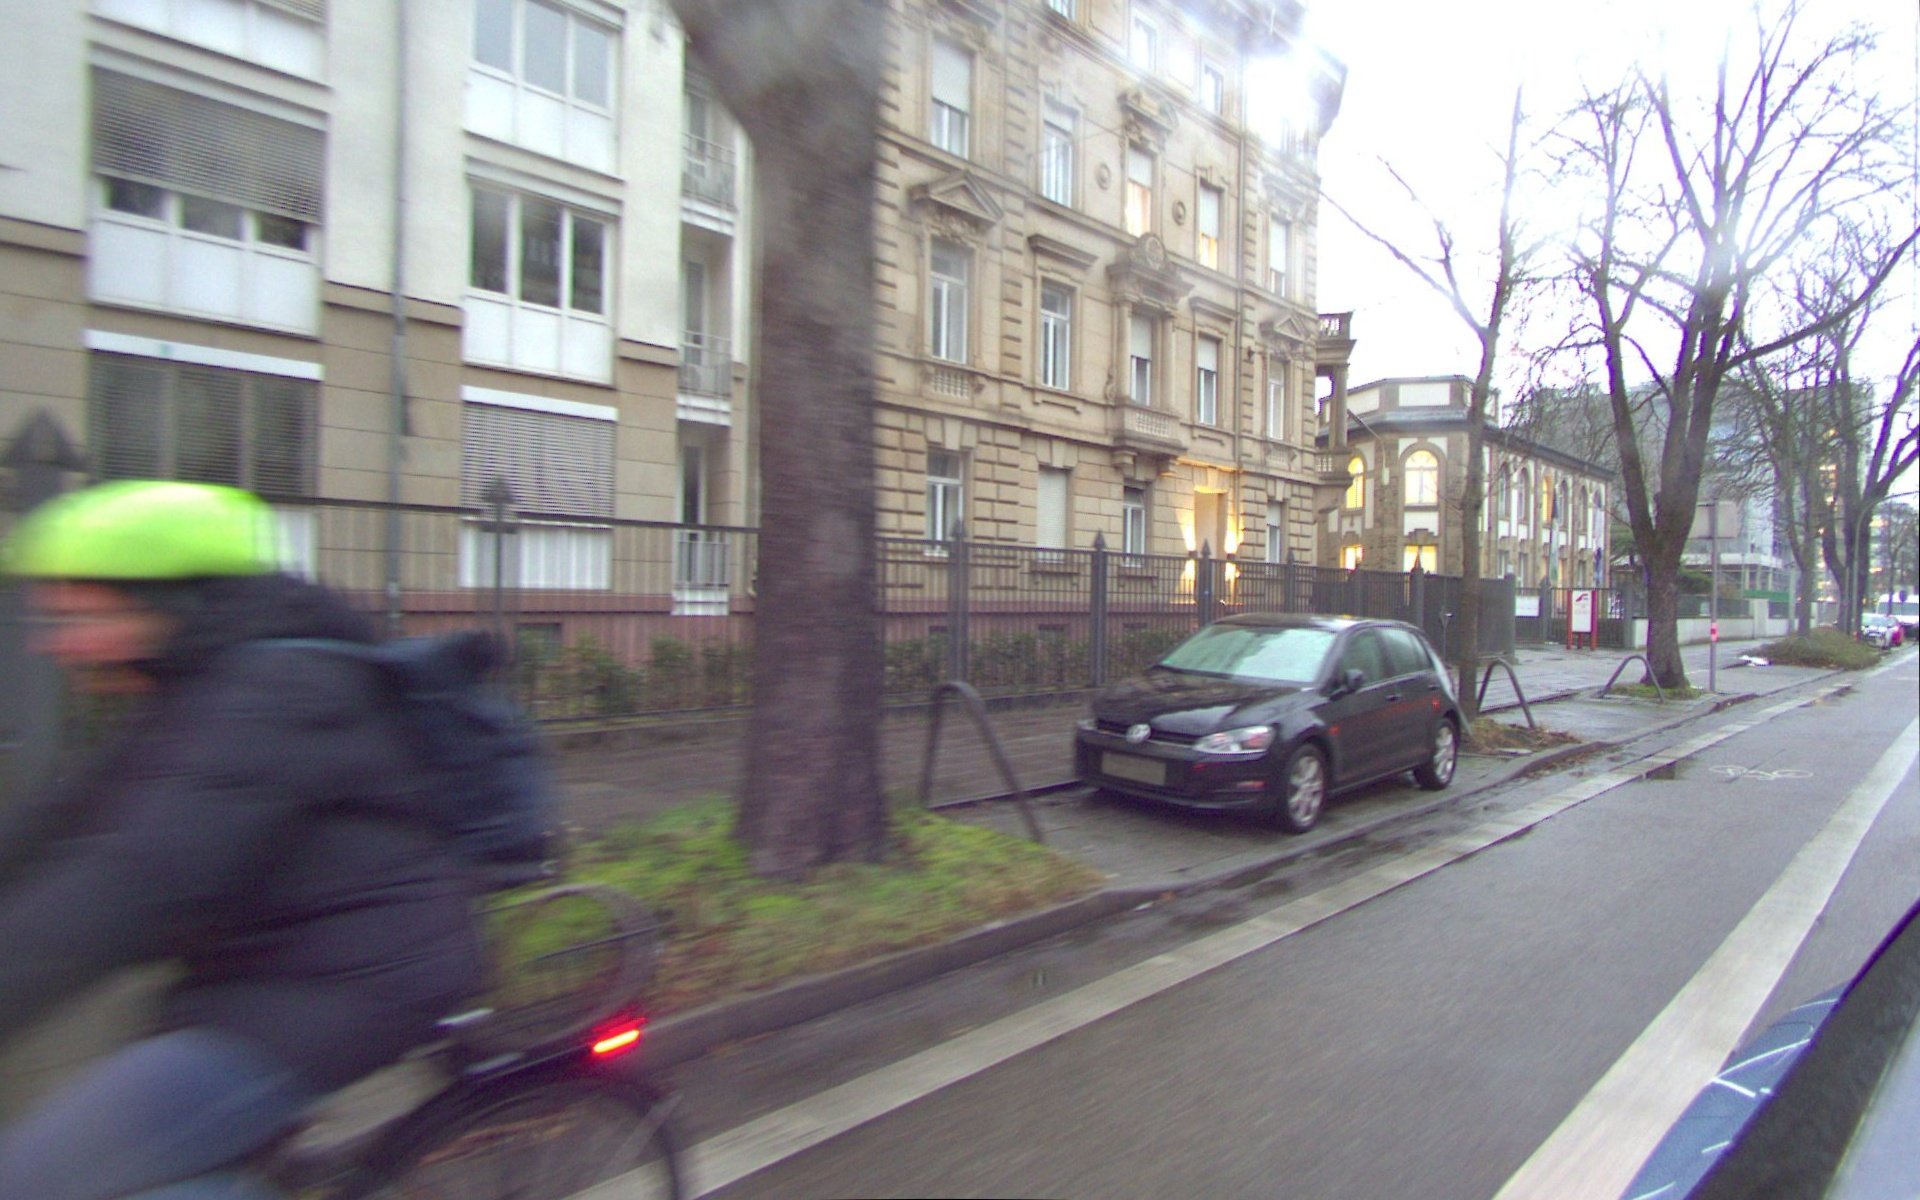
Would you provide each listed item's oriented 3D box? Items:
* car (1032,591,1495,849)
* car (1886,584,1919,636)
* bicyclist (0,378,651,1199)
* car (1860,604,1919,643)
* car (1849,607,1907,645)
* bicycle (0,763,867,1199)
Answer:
[{"bbox_3d":[2.613,0.735,8.105,4.089,1.463,1.759,1,2,-44],"label":"car"},{"bbox_3d":[50.933,0.500,54.013,2.087,2.670,5.364,0,0,44],"label":"car"},{"bbox_3d":[-1.092,0.619,1.437,0.716,1.684,1.040,-2,-2,43],"label":"bicyclist"},{"bbox_3d":[43.701,1.041,47.514,1.993,1.703,3.937,0,0,44],"label":"car"},{"bbox_3d":[36.910,1.003,40.674,1.623,1.425,3.937,0,0,44],"label":"car"},{"bbox_3d":[-1.080,0.937,1.442,0.716,1.126,1.911,-1,-2,43],"label":"bicycle"}]
